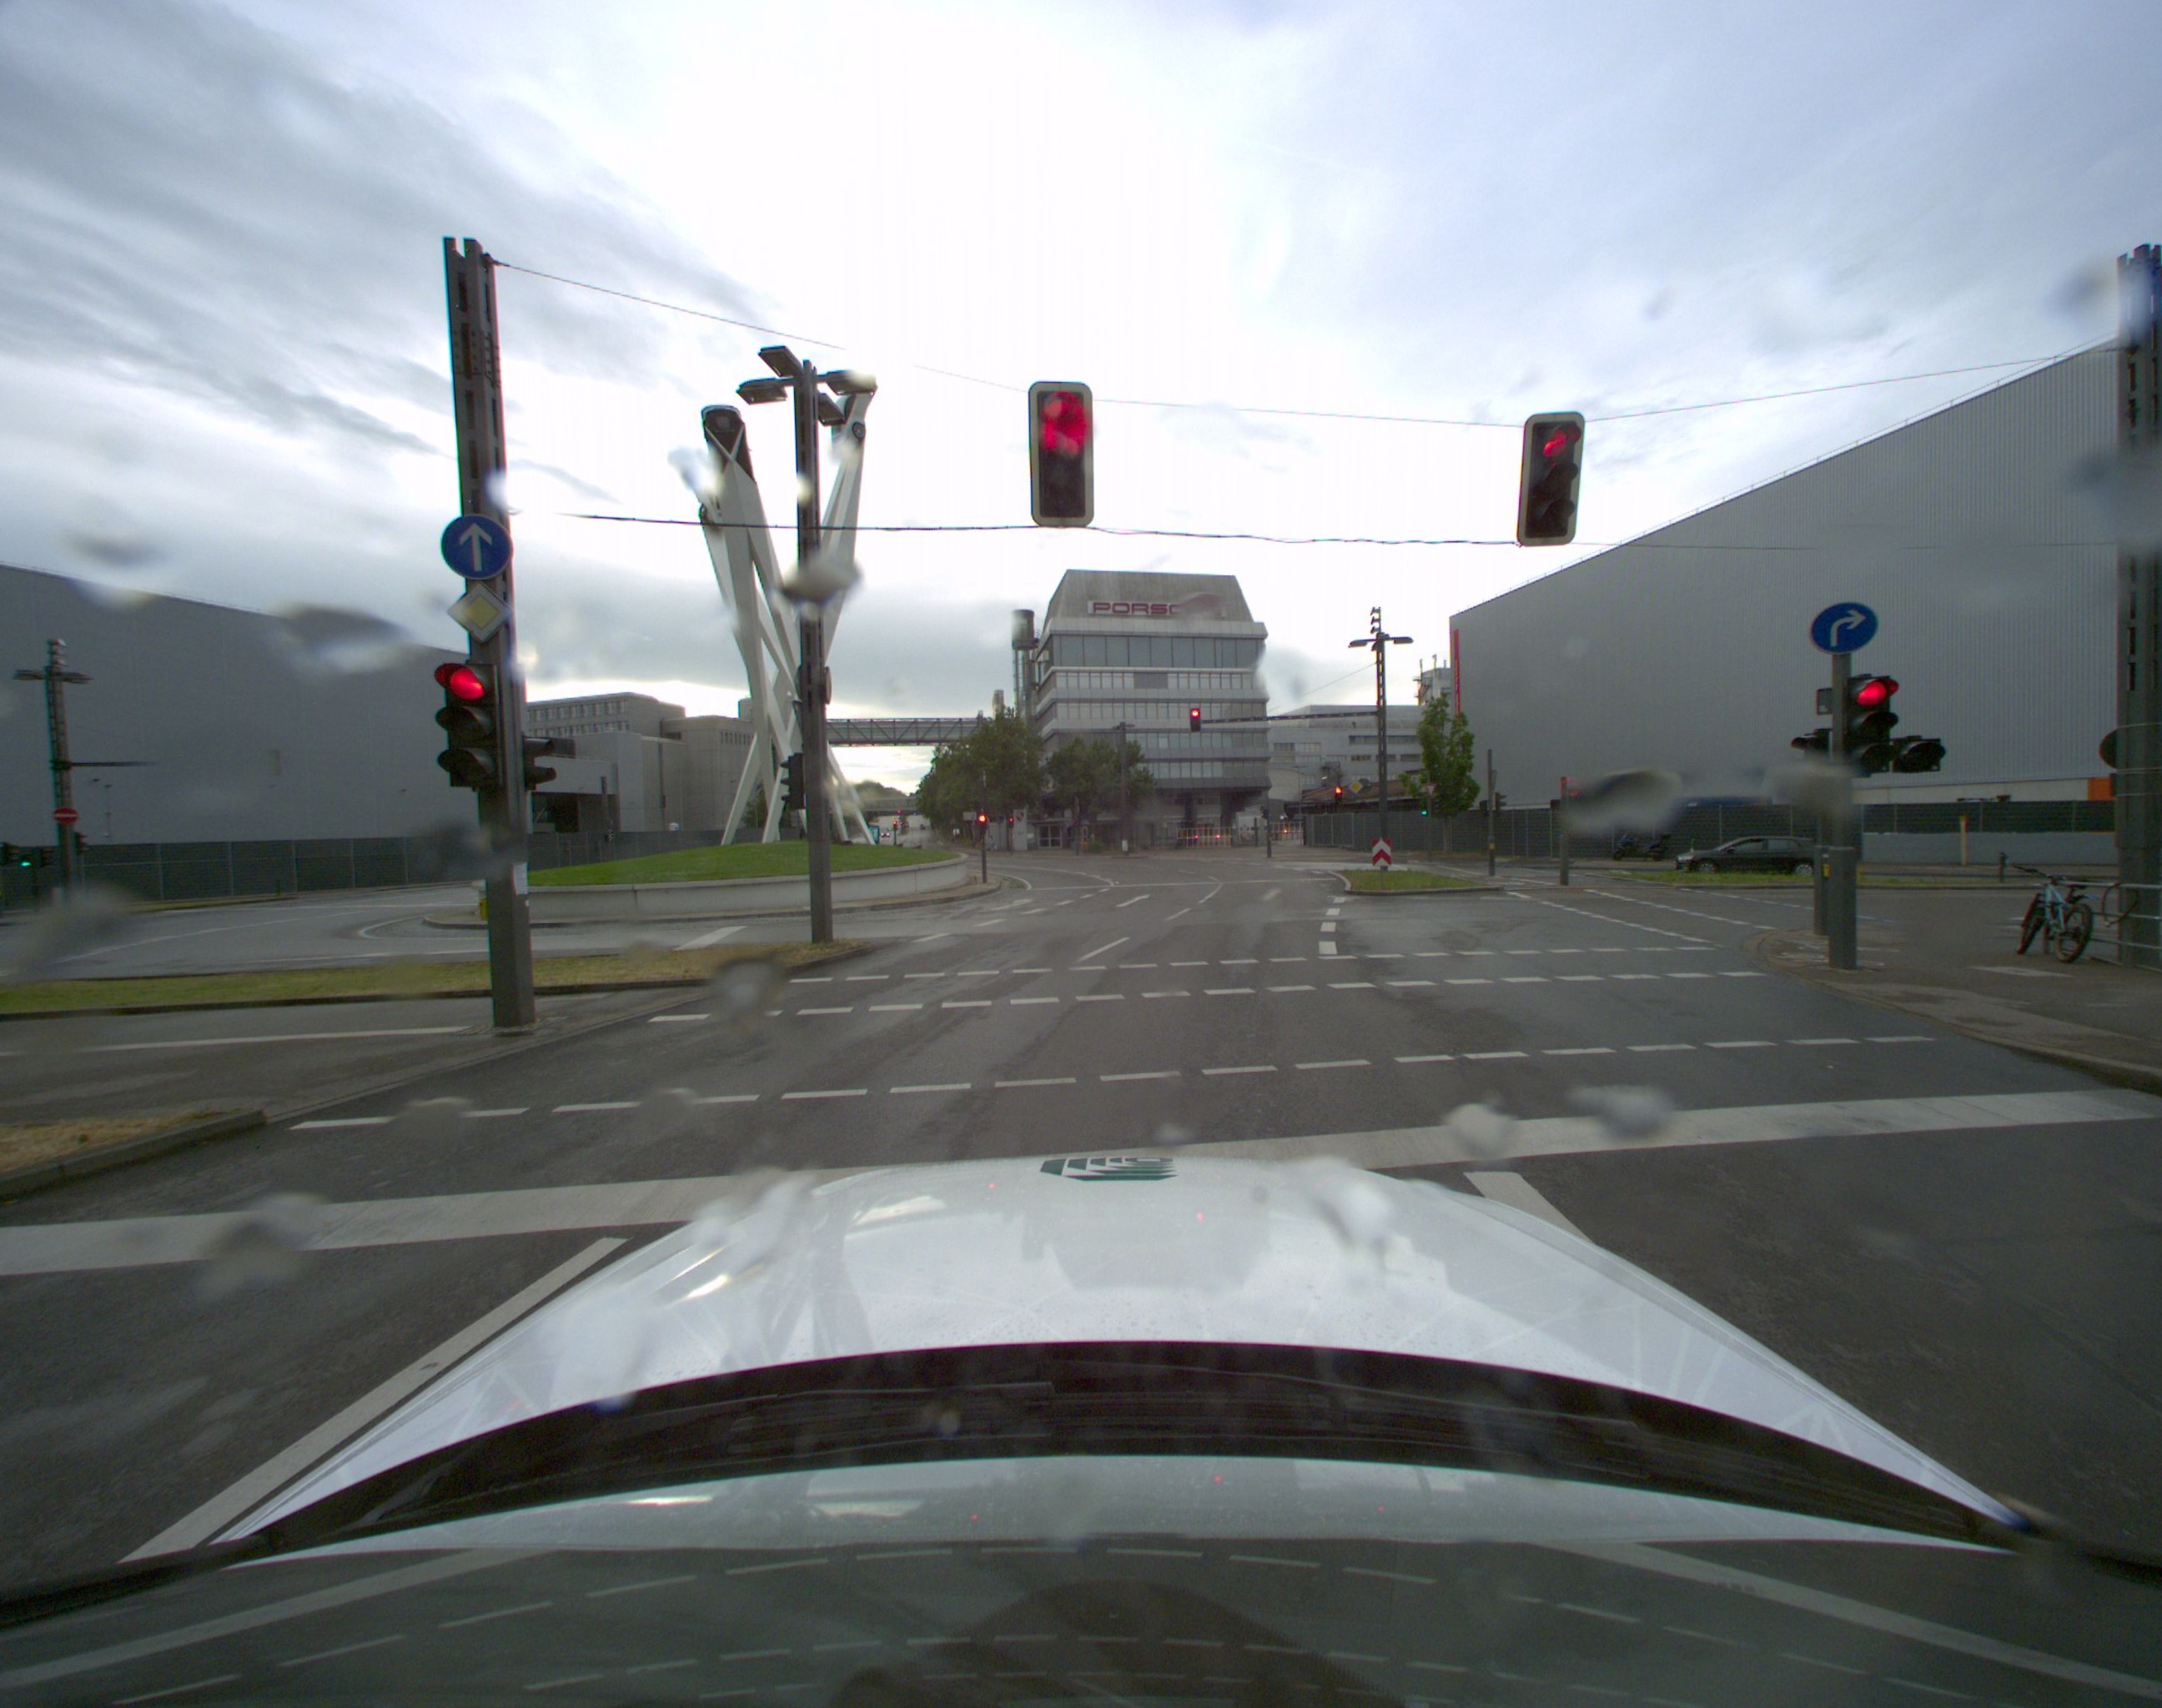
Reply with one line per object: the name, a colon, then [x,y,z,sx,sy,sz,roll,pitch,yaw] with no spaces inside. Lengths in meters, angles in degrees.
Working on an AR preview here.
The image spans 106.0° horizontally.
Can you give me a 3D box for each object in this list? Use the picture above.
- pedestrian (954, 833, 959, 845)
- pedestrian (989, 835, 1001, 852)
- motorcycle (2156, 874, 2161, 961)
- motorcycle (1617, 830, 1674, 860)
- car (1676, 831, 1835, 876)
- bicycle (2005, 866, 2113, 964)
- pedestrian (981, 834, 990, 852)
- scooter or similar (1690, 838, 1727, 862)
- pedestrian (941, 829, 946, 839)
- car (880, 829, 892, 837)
pedestrian: [-18.070,-2.156,117.931,0.712,1.740,0.757,0,-1,-12]
pedestrian: [-7.672,-0.927,72.700,0.835,1.520,0.835,-3,2,-23]
motorcycle: [15.173,0.825,10.304,2.074,1.145,0.490,0,-1,11]
motorcycle: [25.582,-0.404,36.947,2.074,1.310,0.659,0,2,27]
car: [22.843,-0.038,27.793,3.949,1.425,1.732,0,1,31]
bicycle: [12.571,0.731,10.523,0.416,1.130,2.086,-1,-1,37]
pedestrian: [-8.627,-1.022,73.572,0.708,1.591,0.839,-2,2,-7]
scooter or similar: [27.546,-0.196,35.757,0.387,1.028,1.259,-2,2,-29]
pedestrian: [-28.170,-4.026,167.010,0.761,2.013,0.693,-1,1,5]
car: [-49.099,-5.227,204.751,1.986,2.014,4.001,0,-1,2]
